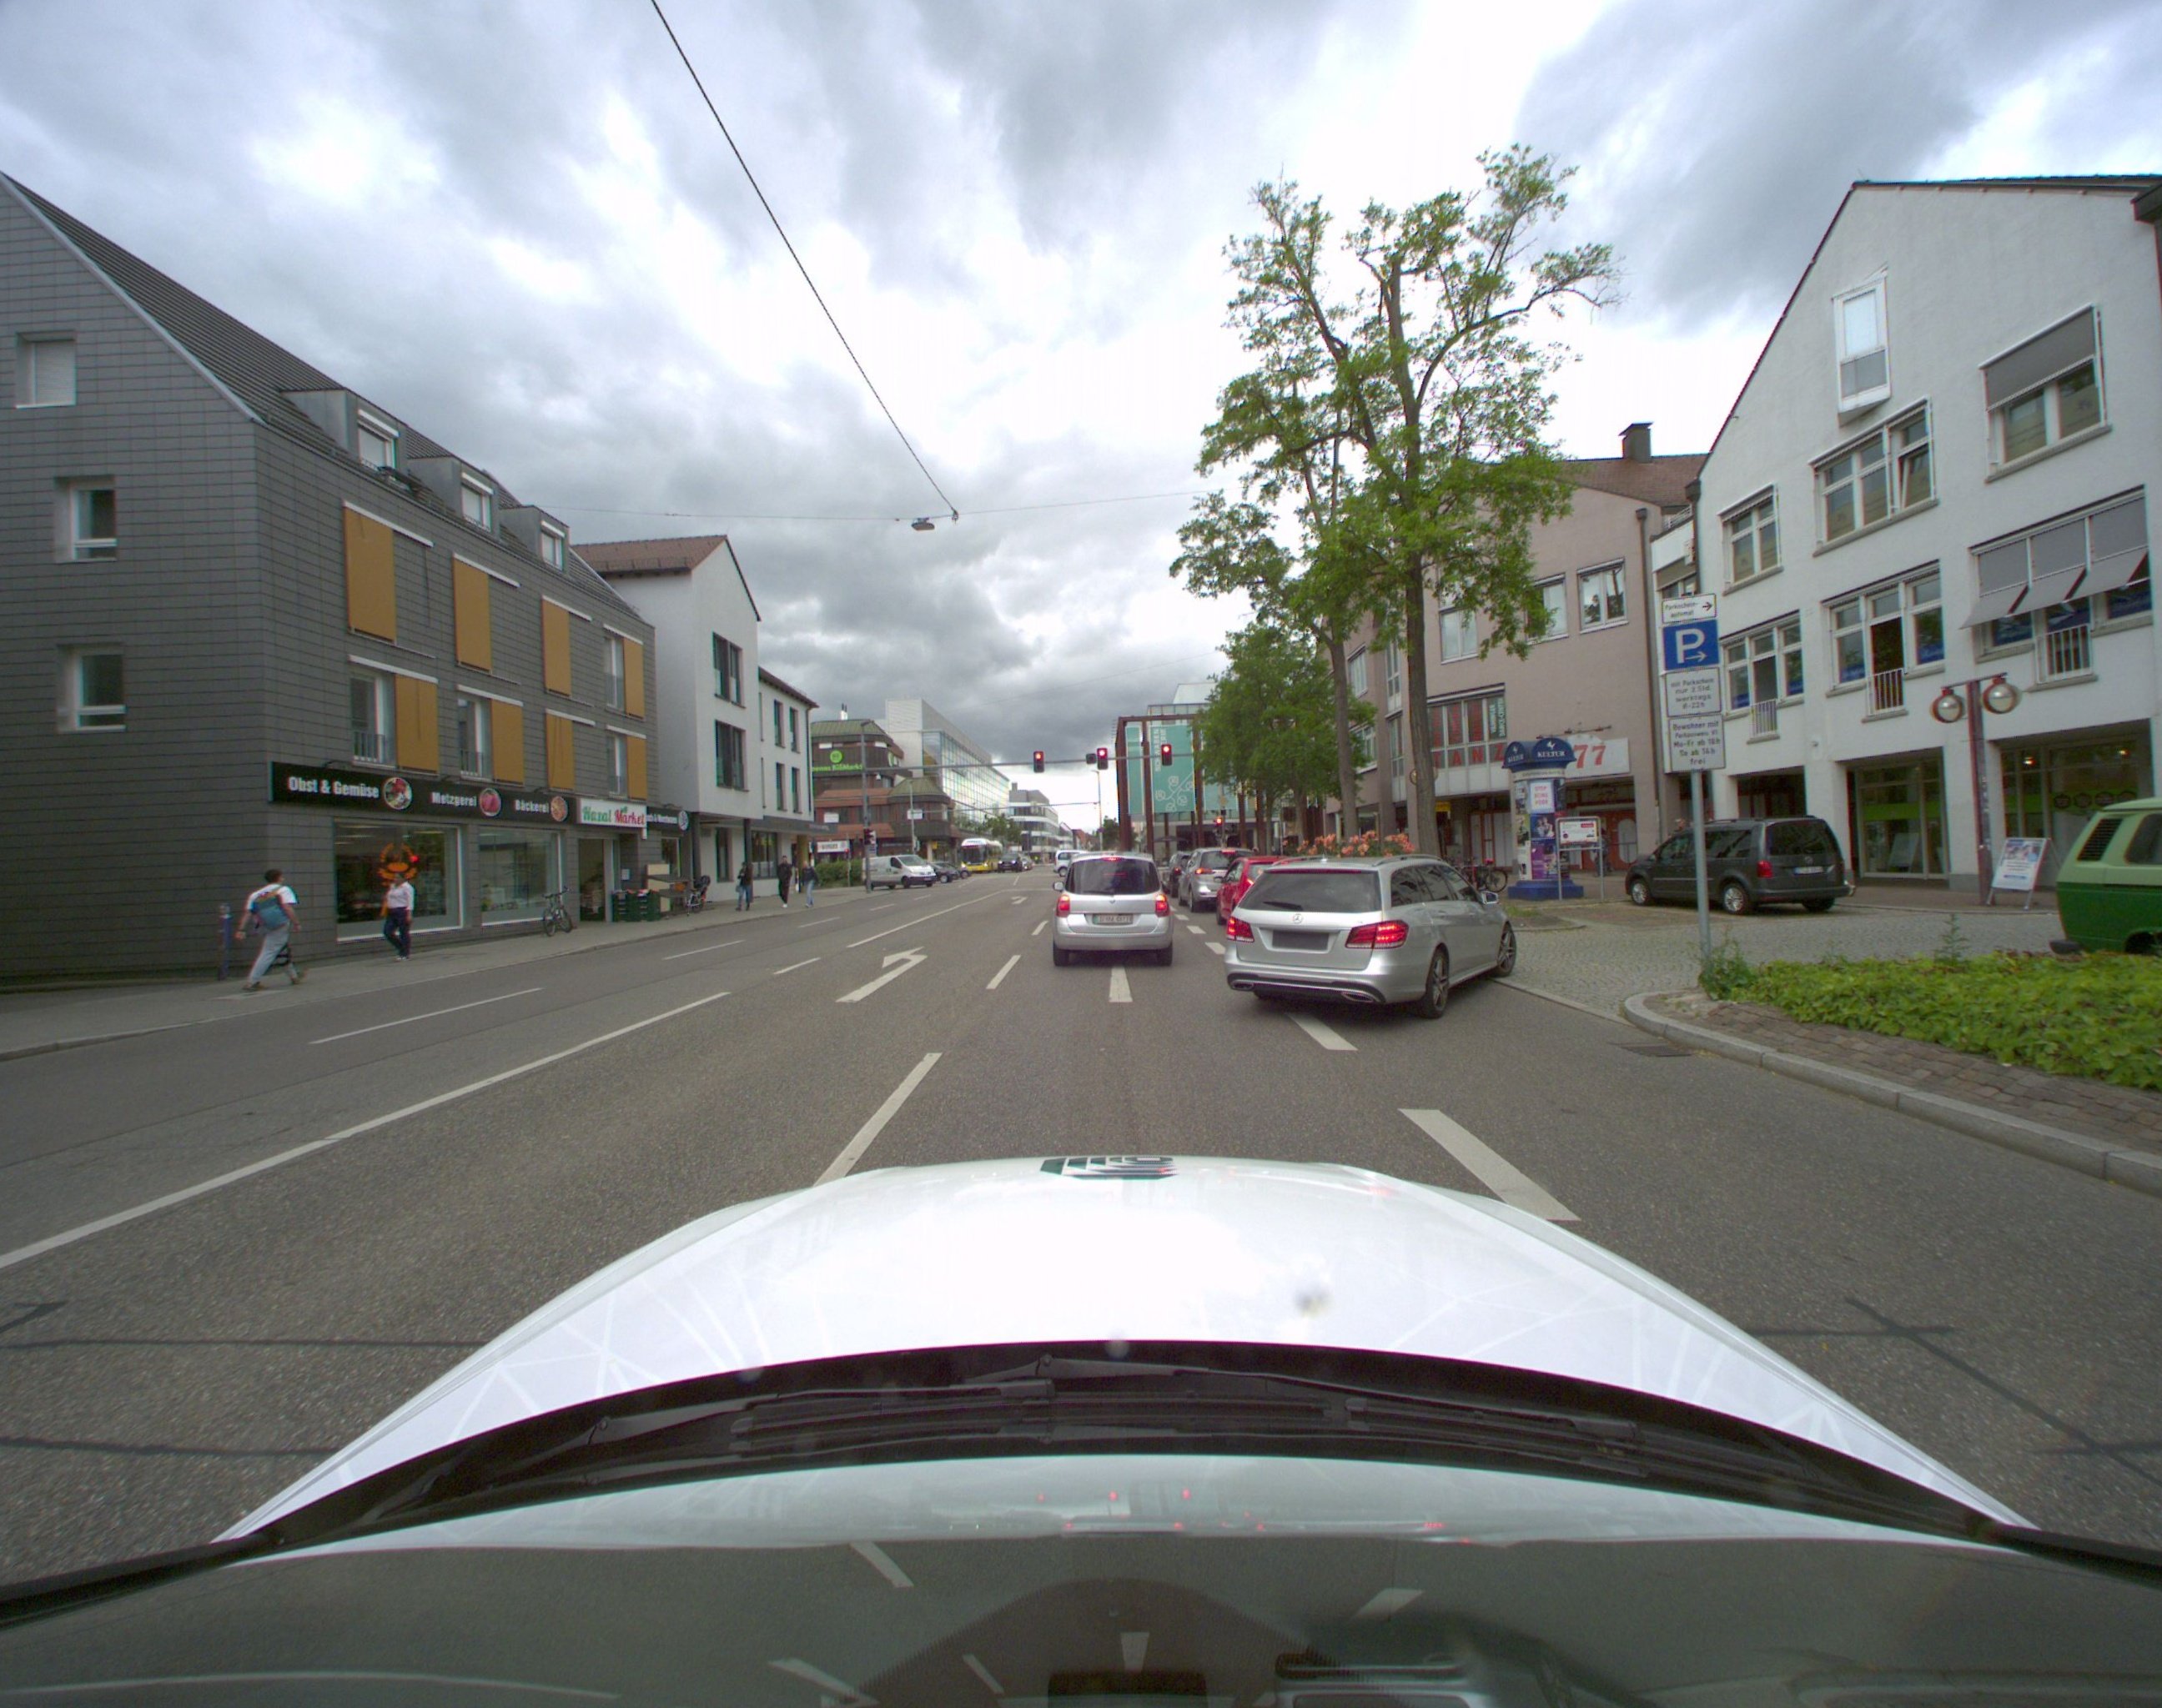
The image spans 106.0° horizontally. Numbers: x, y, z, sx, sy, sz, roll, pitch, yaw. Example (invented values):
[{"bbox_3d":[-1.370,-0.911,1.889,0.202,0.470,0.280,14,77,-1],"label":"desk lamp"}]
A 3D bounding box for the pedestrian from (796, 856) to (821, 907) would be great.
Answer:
[{"bbox_3d":[-9.781,0.979,29.272,0.681,1.790,0.647,-2,0,-9],"label":"pedestrian"}]

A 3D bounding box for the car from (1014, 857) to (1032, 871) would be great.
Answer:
[{"bbox_3d":[-6.022,1.000,84.257,1.550,1.392,3.288,-2,0,1],"label":"car"}]

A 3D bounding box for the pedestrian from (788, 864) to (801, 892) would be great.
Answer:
[{"bbox_3d":[-17.317,1.433,49.218,0.664,1.649,0.788,-2,0,-19],"label":"pedestrian"}]

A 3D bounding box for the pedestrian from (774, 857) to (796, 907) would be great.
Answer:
[{"bbox_3d":[-10.745,1.018,29.568,0.568,1.775,0.645,-2,0,-6],"label":"pedestrian"}]

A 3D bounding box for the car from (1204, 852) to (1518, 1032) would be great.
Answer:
[{"bbox_3d":[3.254,0.717,8.832,1.797,1.448,4.397,0,0,39],"label":"car"}]

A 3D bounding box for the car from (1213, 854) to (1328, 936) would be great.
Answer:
[{"bbox_3d":[3.595,0.725,15.980,1.580,1.443,3.350,0,0,2],"label":"car"}]

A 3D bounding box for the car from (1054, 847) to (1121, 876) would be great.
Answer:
[{"bbox_3d":[0.463,0.472,54.241,4.369,1.773,1.328,-2,0,2],"label":"car"}]

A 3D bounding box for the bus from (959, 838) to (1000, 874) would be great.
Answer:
[{"bbox_3d":[-9.785,0.156,79.419,2.677,3.261,8.654,-2,0,1],"label":"bus"}]

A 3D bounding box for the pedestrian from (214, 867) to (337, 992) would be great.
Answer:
[{"bbox_3d":[-11.635,1.050,11.799,0.751,1.705,0.981,1,0,1],"label":"pedestrian"}]

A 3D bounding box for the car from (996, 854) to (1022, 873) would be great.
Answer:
[{"bbox_3d":[-6.734,0.860,76.723,1.987,1.706,4.065,-2,0,1],"label":"car"}]

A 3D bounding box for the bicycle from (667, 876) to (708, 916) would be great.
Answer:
[{"bbox_3d":[-12.578,1.322,26.074,0.385,1.186,1.825,-2,0,-1],"label":"bicycle"}]

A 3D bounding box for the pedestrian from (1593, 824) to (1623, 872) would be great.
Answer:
[{"bbox_3d":[17.626,-0.197,27.245,0.668,1.563,0.615,-2,0,-35],"label":"pedestrian"}]

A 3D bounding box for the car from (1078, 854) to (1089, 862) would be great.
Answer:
[{"bbox_3d":[0.518,0.715,161.719,1.793,1.540,4.068,-2,0,3],"label":"car"}]

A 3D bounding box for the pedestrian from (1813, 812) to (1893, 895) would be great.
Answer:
[{"bbox_3d":[16.146,-0.008,17.060,0.786,1.659,0.819,-4,0,1],"label":"pedestrian"}]

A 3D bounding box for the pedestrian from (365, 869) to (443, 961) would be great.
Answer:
[{"bbox_3d":[-12.409,1.105,14.948,0.725,1.610,0.753,-2,0,2],"label":"pedestrian"}]

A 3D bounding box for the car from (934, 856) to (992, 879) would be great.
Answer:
[{"bbox_3d":[-9.182,1.044,63.657,1.898,1.677,4.269,-2,0,39],"label":"car"}]

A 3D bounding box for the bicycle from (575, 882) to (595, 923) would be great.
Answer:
[{"bbox_3d":[-14.419,1.400,23.655,0.389,1.127,1.276,-2,0,-35],"label":"bicycle"}]

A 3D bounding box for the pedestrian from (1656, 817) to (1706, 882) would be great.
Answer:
[{"bbox_3d":[17.274,-0.125,23.455,0.786,1.793,0.819,-2,0,1],"label":"pedestrian"}]

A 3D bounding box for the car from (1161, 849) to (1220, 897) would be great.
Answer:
[{"bbox_3d":[3.828,0.629,28.943,1.581,1.595,3.868,0,0,0],"label":"car"}]

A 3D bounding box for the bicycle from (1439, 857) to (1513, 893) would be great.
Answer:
[{"bbox_3d":[11.483,0.607,23.704,1.892,0.997,0.468,-2,0,5],"label":"bicycle"}]

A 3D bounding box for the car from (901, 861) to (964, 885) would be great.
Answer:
[{"bbox_3d":[-9.969,1.259,54.662,3.815,1.389,1.685,-2,0,2],"label":"car"}]

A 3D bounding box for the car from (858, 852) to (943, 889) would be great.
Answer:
[{"bbox_3d":[-10.684,0.981,47.943,5.091,1.888,2.013,-3,0,38],"label":"car"}]

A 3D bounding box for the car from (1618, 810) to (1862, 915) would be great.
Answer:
[{"bbox_3d":[13.278,0.152,16.760,1.633,1.831,3.963,-3,0,-2],"label":"car"}]

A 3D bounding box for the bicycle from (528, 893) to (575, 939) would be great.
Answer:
[{"bbox_3d":[-12.469,1.442,19.211,0.325,0.954,1.479,-2,0,-9],"label":"bicycle"}]

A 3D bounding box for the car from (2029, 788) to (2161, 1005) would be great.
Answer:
[{"bbox_3d":[10.237,0.311,5.657,1.874,1.876,4.605,-3,0,0],"label":"car"}]

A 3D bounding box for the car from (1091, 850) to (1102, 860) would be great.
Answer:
[{"bbox_3d":[3.022,0.166,156.223,1.987,1.949,4.951,-2,0,1],"label":"car"}]

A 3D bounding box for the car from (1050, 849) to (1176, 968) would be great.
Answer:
[{"bbox_3d":[0.473,0.711,12.366,1.634,1.527,3.395,-1,0,2],"label":"car"}]

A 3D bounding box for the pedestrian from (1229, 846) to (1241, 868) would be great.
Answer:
[{"bbox_3d":[12.164,0.236,64.305,0.652,1.650,0.557,-2,0,-13],"label":"pedestrian"}]

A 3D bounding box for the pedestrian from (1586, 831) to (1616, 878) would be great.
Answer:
[{"bbox_3d":[17.092,0.030,26.761,0.614,1.515,0.615,-2,0,-36],"label":"pedestrian"}]

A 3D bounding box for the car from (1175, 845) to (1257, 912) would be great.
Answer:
[{"bbox_3d":[3.551,0.600,22.041,1.581,1.634,3.916,0,0,0],"label":"car"}]

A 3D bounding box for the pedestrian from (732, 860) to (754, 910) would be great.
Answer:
[{"bbox_3d":[-11.481,1.054,27.682,0.654,1.650,0.555,-2,0,-22],"label":"pedestrian"}]

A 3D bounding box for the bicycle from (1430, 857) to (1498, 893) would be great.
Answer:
[{"bbox_3d":[11.404,0.628,24.260,1.760,0.997,0.447,-2,0,5],"label":"bicycle"}]
